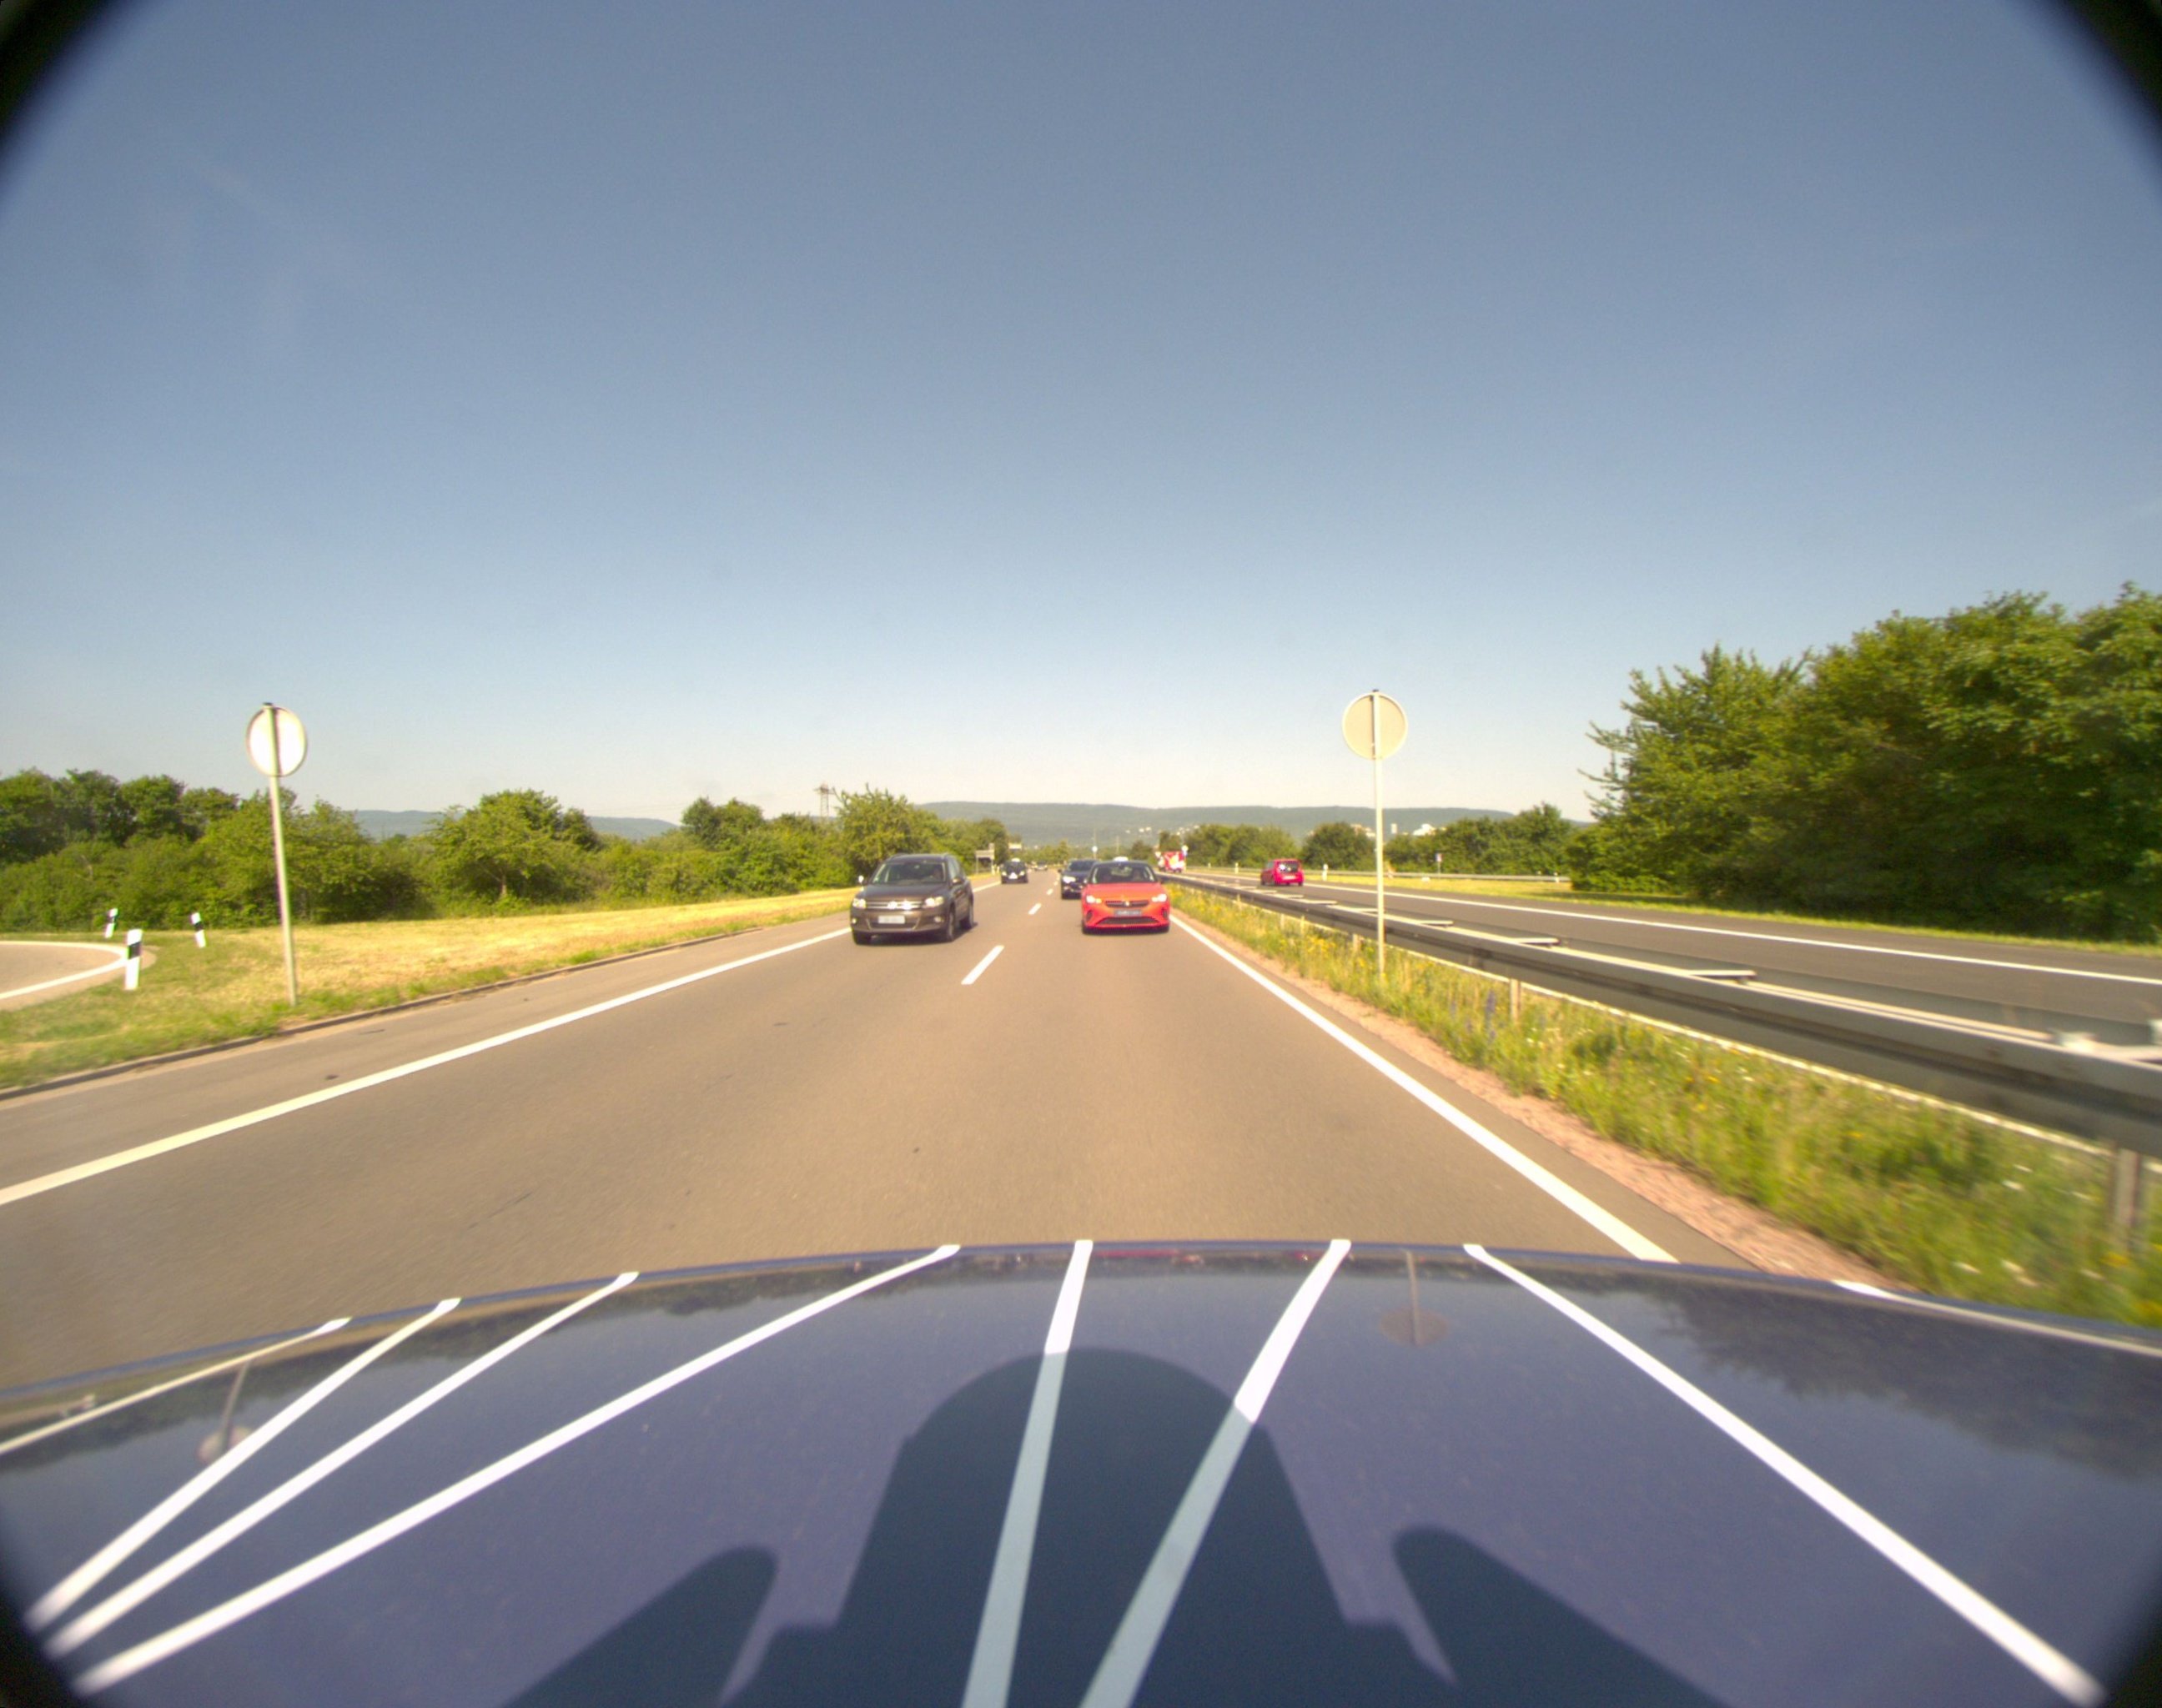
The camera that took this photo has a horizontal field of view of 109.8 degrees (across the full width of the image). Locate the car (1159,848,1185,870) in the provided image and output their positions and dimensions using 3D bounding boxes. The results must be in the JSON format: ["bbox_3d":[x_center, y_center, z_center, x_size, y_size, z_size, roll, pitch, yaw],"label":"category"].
[{"bbox_3d":[10.318,0.545,86.450,2.119,2.361,5.880,-2,1,-1],"label":"car"}]

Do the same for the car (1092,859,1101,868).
[{"bbox_3d":[3.162,1.995,156.329,1.864,1.656,3.999,-2,1,0],"label":"car"}]

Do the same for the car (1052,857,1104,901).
[{"bbox_3d":[-0.035,0.889,29.288,1.788,1.524,4.376,-1,0,2],"label":"car"}]

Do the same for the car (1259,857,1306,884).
[{"bbox_3d":[11.131,0.895,42.132,1.633,1.449,3.768,0,-1,0],"label":"car"}]

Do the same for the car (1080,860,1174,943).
[{"bbox_3d":[0.909,0.901,16.285,1.713,1.429,4.412,-1,1,2],"label":"car"}]

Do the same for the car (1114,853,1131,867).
[{"bbox_3d":[5.963,0.856,110.006,1.999,2.002,4.517,-2,1,-1],"label":"car"}]

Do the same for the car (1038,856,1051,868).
[{"bbox_3d":[-5.487,1.188,114.354,1.768,1.652,3.999,-2,1,-2],"label":"car"}]

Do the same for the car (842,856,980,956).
[{"bbox_3d":[-3.226,0.907,15.259,1.790,1.637,4.147,-1,1,0],"label":"car"}]

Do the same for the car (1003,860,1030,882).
[{"bbox_3d":[-4.126,1.100,49.056,1.601,1.241,3.998,-2,1,-3],"label":"car"}]
